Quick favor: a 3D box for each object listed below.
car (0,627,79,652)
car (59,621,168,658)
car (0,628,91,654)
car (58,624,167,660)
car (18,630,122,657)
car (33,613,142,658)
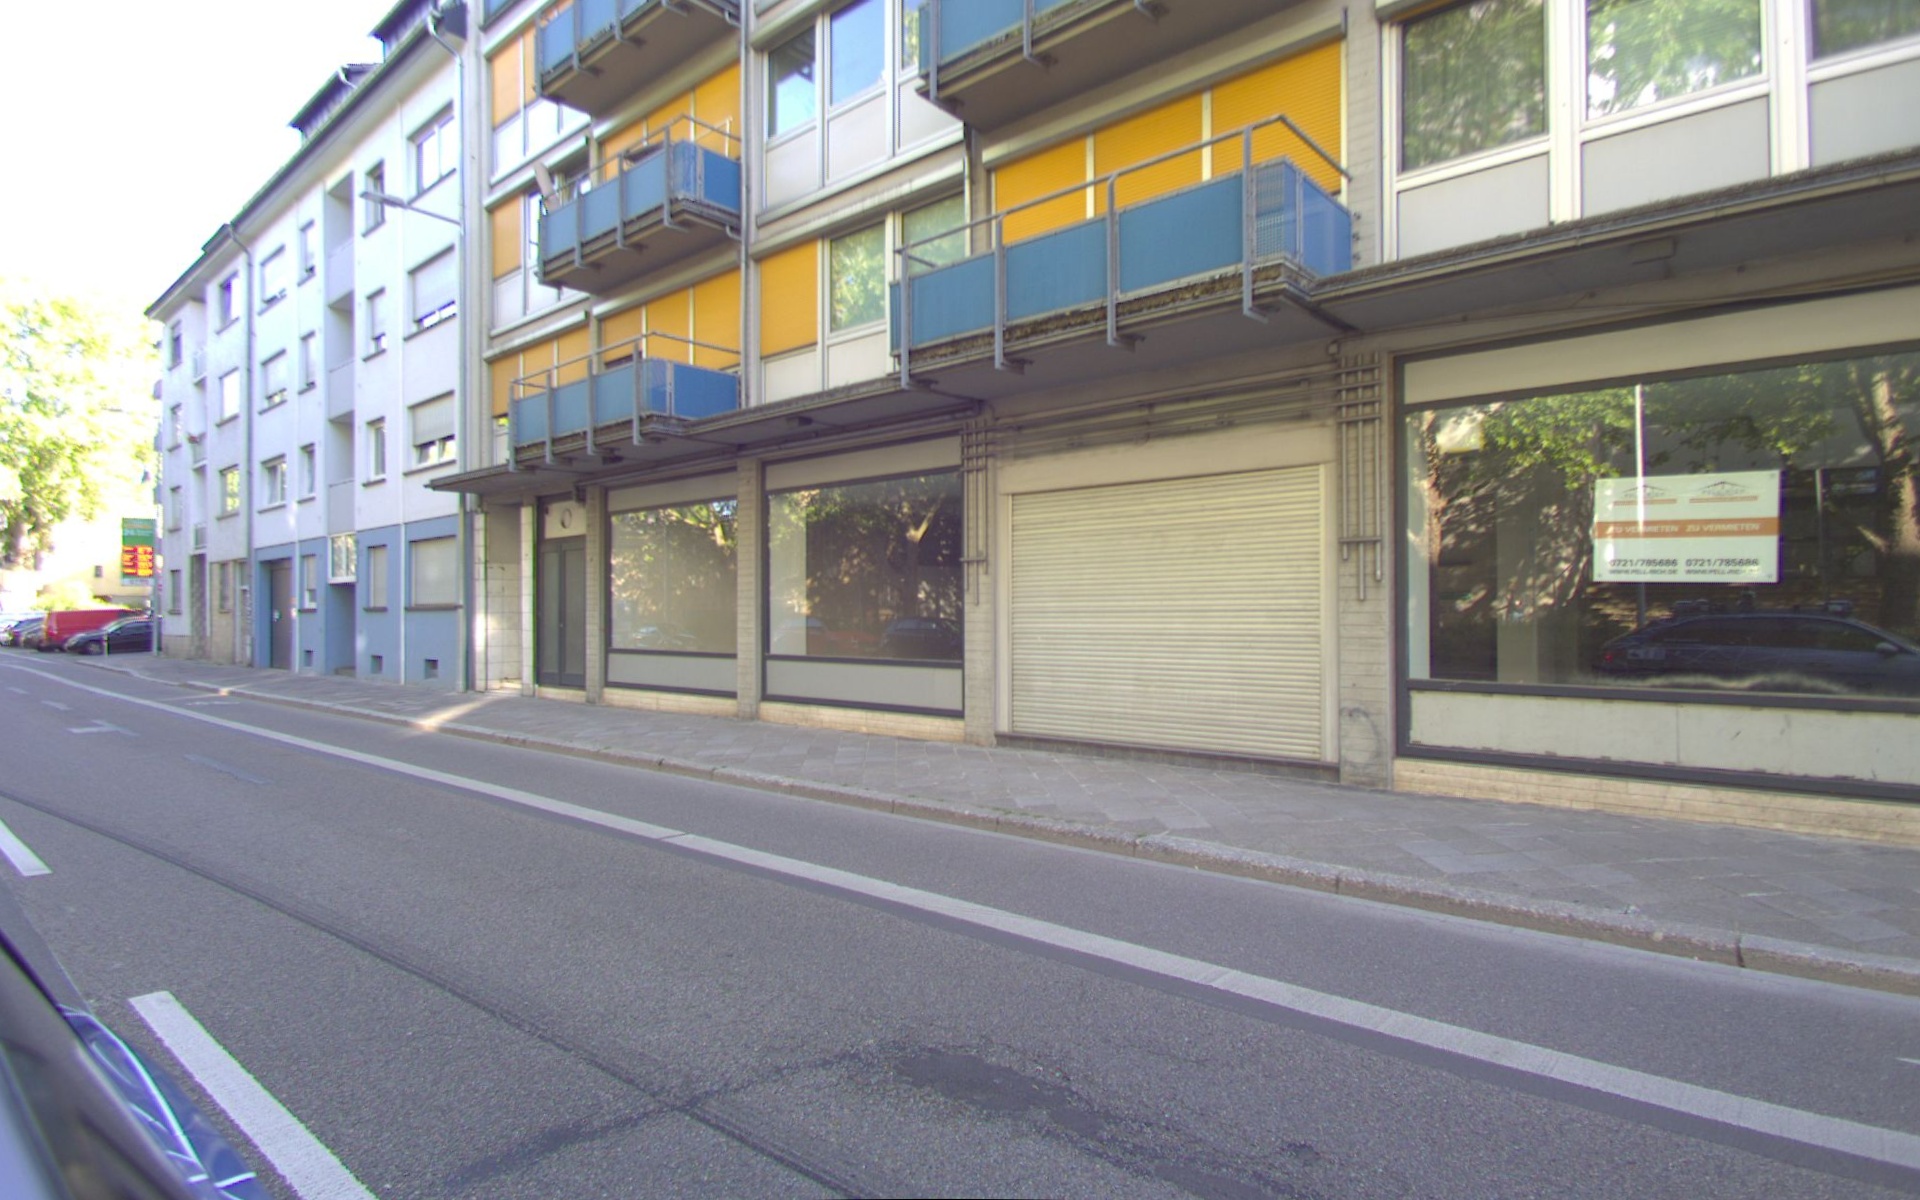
[{"bbox_3d":[-52.256,2.242,57.498,1.345,1.254,3.228,-1,0,43],"label":"car"},{"bbox_3d":[-38.188,1.761,45.717,1.490,1.523,3.638,-1,0,43],"label":"car"},{"bbox_3d":[-50.442,2.234,55.869,1.345,1.254,3.638,-1,0,43],"label":"car"},{"bbox_3d":[-36.672,1.804,43.837,1.490,1.398,3.462,-1,0,43],"label":"car"},{"bbox_3d":[-42.810,2.067,48.732,1.345,1.137,3.638,-1,0,43],"label":"car"},{"bbox_3d":[-40.647,1.641,47.217,1.488,1.923,3.642,-4,-2,39],"label":"car"}]
